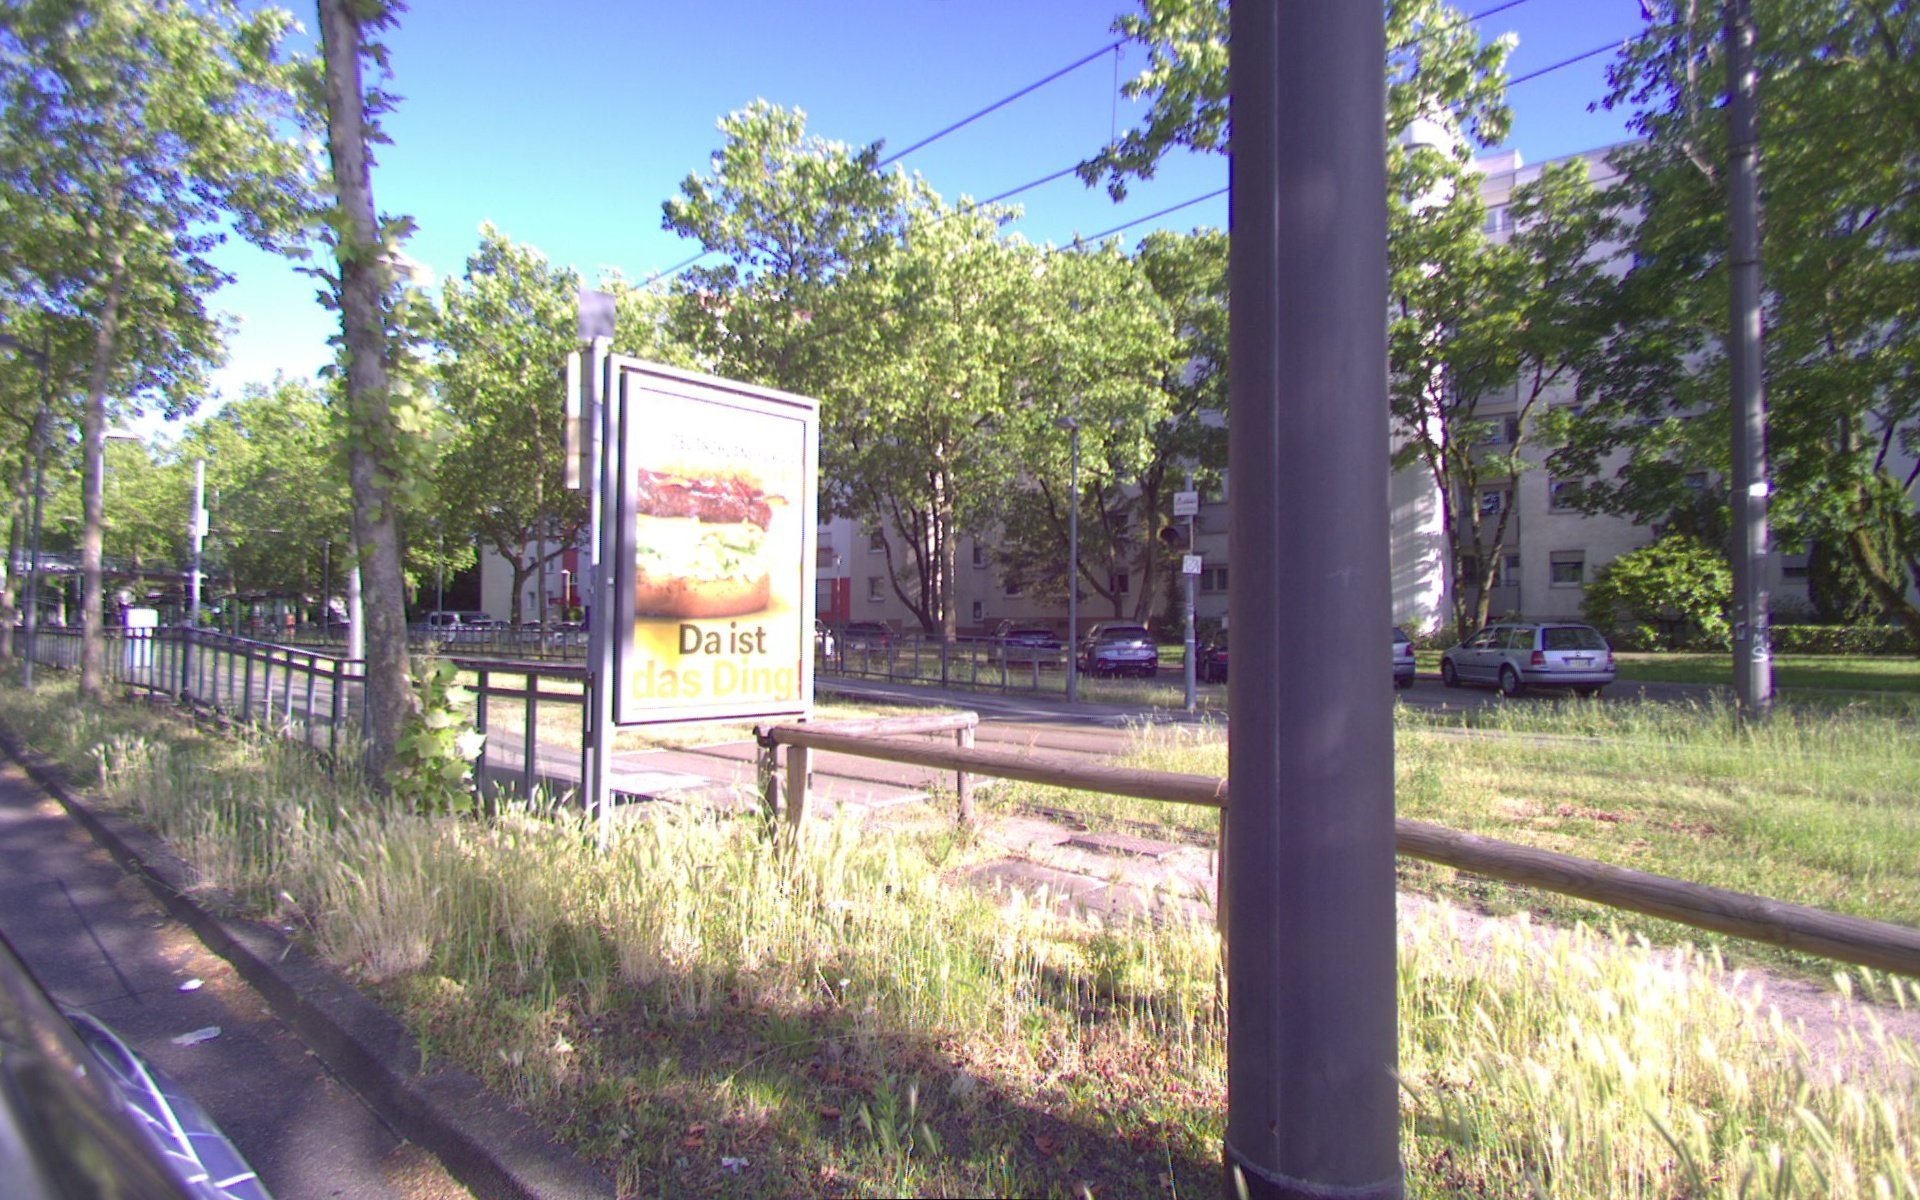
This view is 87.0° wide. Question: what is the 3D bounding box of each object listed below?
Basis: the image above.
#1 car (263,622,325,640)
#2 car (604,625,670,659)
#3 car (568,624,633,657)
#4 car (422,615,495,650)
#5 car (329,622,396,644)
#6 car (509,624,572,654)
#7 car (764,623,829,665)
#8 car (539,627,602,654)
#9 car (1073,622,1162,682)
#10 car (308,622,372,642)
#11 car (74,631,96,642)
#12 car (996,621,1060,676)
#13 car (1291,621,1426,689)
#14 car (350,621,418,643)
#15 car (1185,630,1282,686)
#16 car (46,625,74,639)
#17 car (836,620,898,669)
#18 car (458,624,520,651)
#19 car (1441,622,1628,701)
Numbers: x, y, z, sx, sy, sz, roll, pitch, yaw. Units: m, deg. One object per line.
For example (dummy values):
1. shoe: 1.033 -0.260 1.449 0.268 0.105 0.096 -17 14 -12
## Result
1. car: -52.152 2.403 79.370 1.898 1.386 4.365 0 -1 1
2. car: -14.089 1.819 44.286 1.627 1.403 3.679 0 -1 2
3. car: -16.689 1.842 47.142 1.627 1.460 3.680 0 -1 1
4. car: -28.333 1.825 57.333 1.898 1.898 4.365 0 -1 1
5. car: -40.289 2.203 68.397 1.898 1.386 4.365 0 -1 1
6. car: -21.130 1.959 51.139 1.627 1.460 3.680 0 -1 1
7. car: -5.916 1.571 36.923 1.664 1.444 3.679 0 -1 2
8. car: -19.053 1.980 49.672 1.627 1.251 3.680 0 -1 1
9. car: 4.200 1.346 27.498 1.894 1.507 3.680 0 -1 2
10. car: -44.651 2.280 72.990 1.898 1.386 4.365 0 -1 1
11. car: -109.153 4.563 126.205 3.294 1.370 1.651 -1 -2 41
12. car: 1.927 1.368 29.451 1.664 1.482 3.680 0 -1 1
13. car: 9.147 1.220 23.533 1.679 1.444 3.681 0 -1 1
14. car: -37.805 2.113 66.536 1.898 1.386 4.365 0 -1 1
15. car: 6.723 1.401 25.212 1.602 1.256 3.677 0 -1 4
16. car: -104.385 3.704 117.379 4.366 1.586 1.898 -1 -2 42
17. car: -3.114 1.458 34.474 1.664 1.579 3.679 0 -1 2
18. car: -25.805 2.034 55.524 1.627 1.407 3.680 0 -1 1
19. car: 11.541 1.177 20.634 1.707 1.444 3.681 0 -1 1
